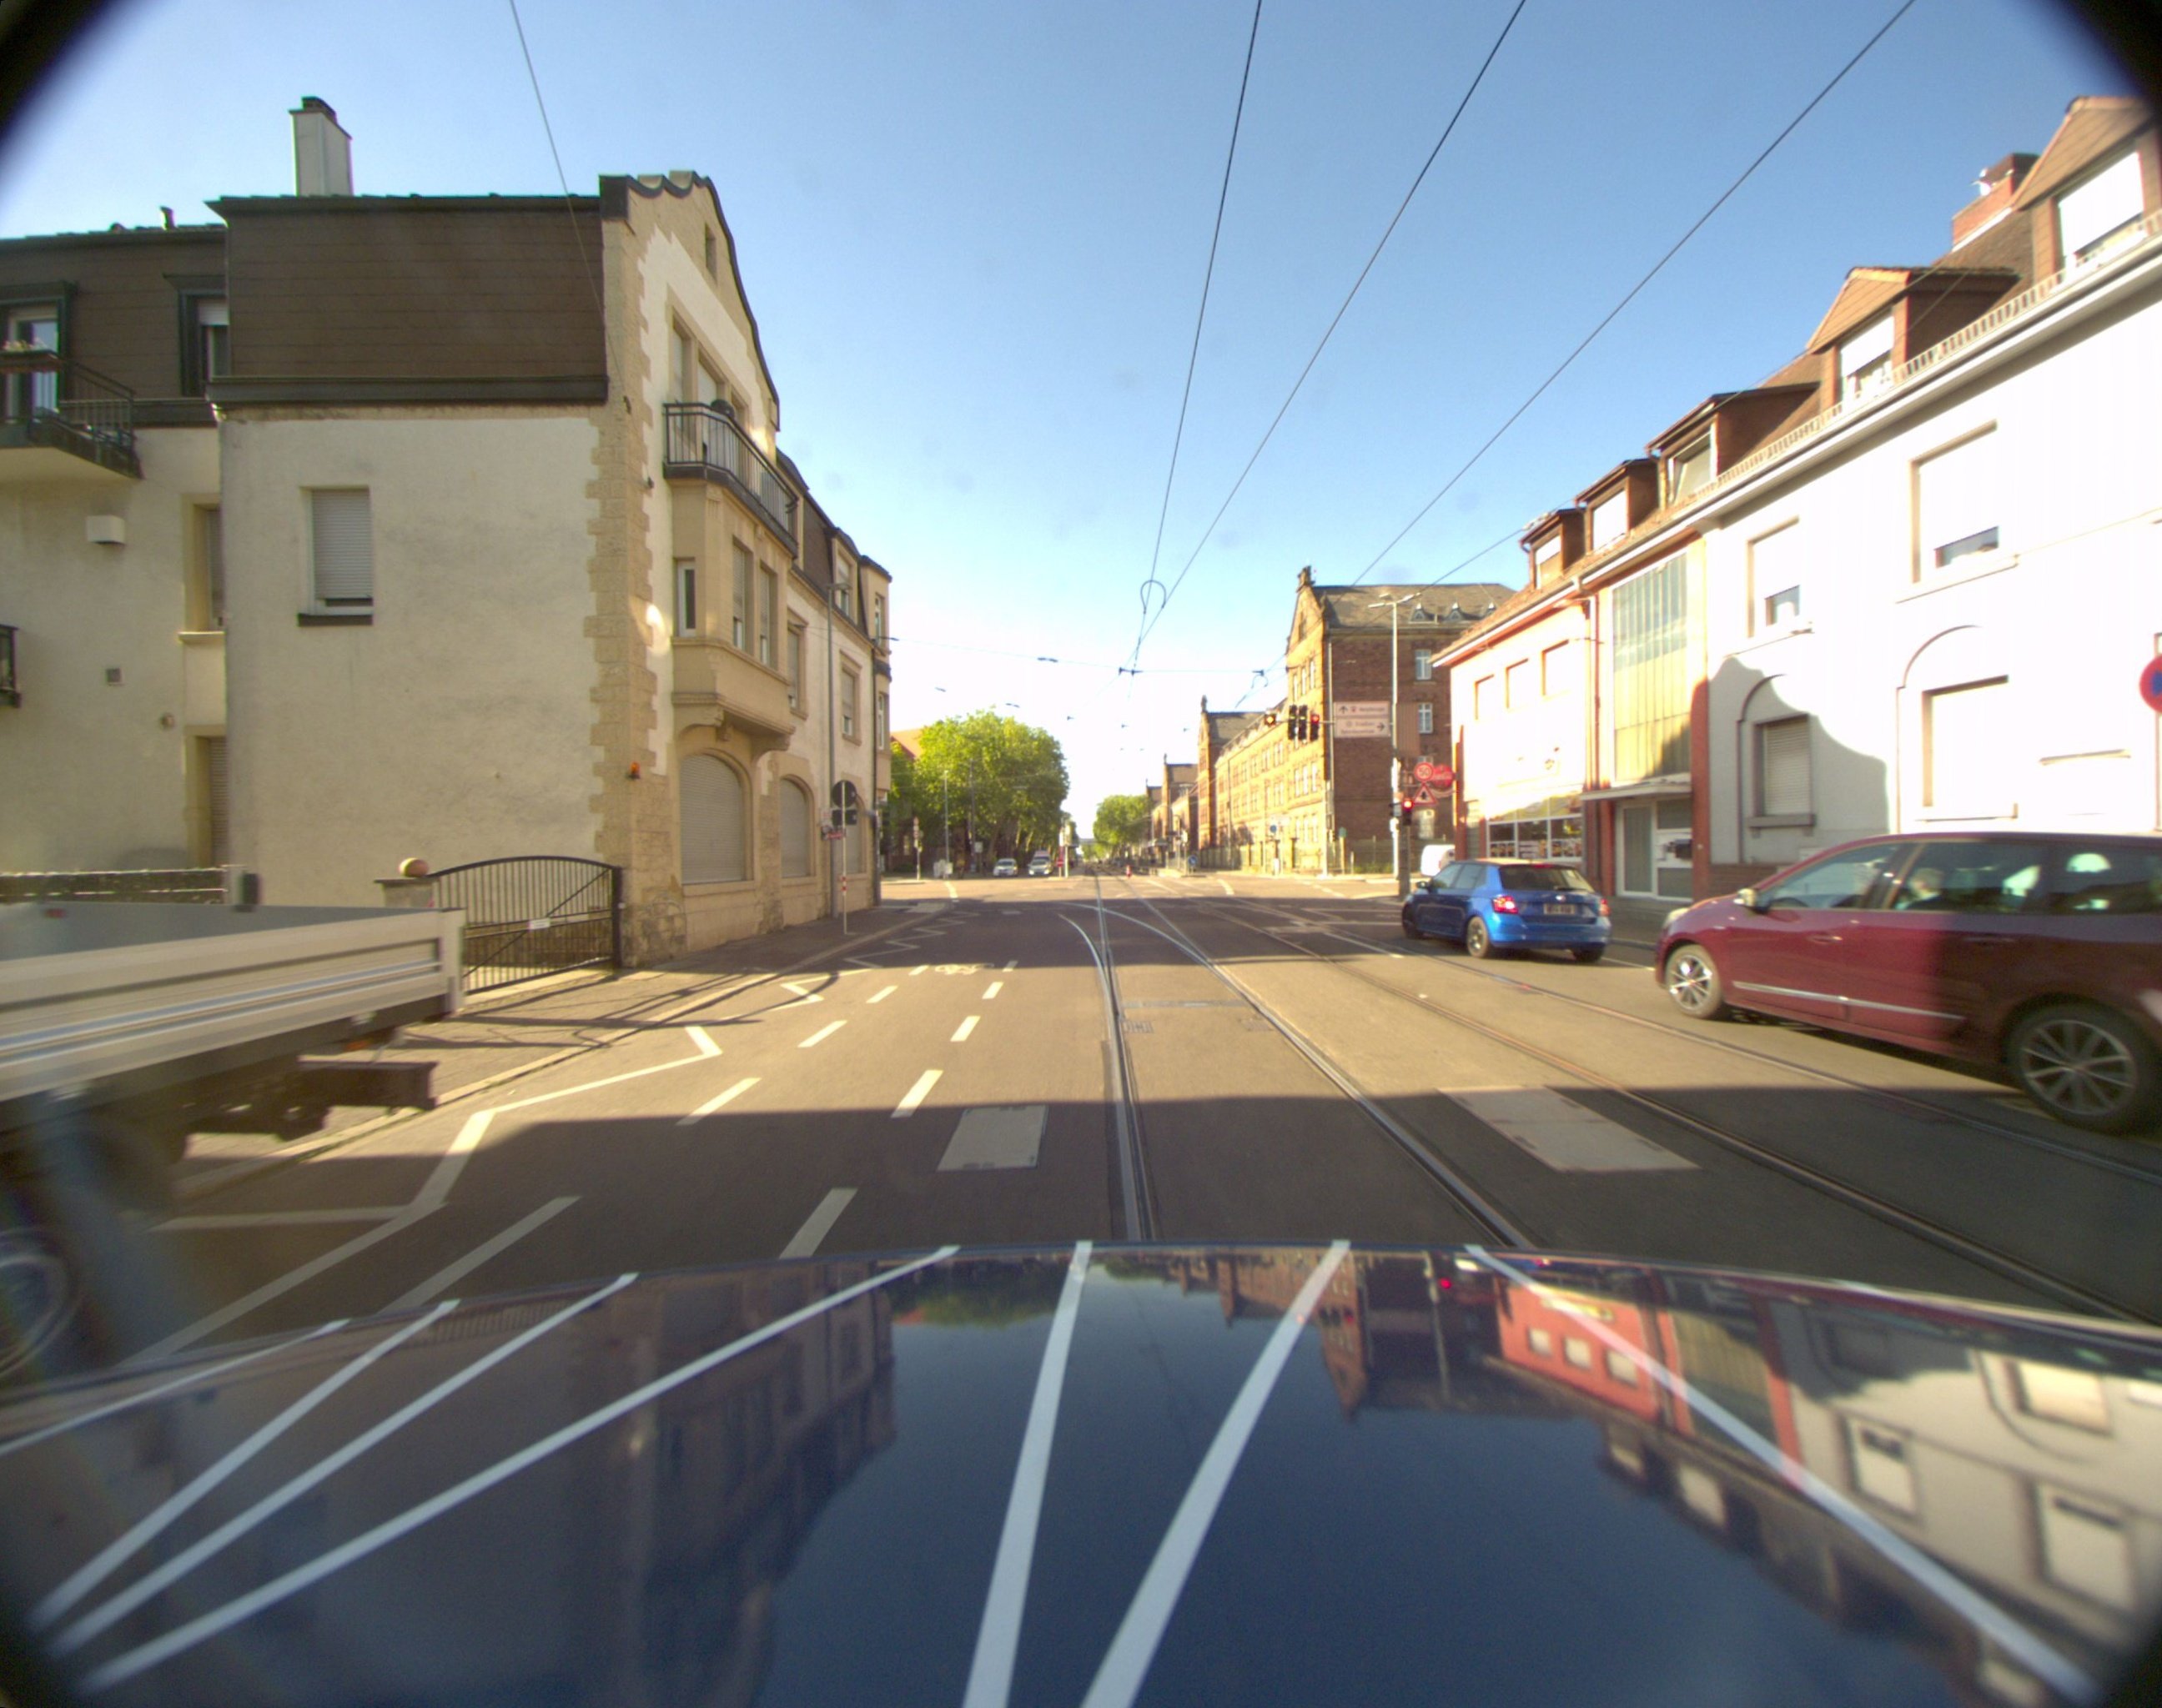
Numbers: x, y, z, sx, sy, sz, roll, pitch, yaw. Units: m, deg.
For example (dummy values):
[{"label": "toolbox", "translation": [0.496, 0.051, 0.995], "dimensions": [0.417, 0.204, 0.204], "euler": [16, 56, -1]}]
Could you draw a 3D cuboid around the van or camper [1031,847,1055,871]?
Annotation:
[{"label": "van or camper", "translation": [-3.773, 0.564, 76.713], "dimensions": [1.998, 2.346, 5.600], "euler": [-1, -1, 1]}]

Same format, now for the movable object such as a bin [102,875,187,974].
[{"label": "movable object such as a bin", "translation": [-13.494, 1.001, 10.962], "dimensions": [0.522, 1.373, 0.533], "euler": [-1, 1, 1]}]

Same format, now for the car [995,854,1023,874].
[{"label": "car", "translation": [-6.228, 0.885, 66.176], "dimensions": [1.911, 1.608, 4.572], "euler": [-2, -1, 1]}]

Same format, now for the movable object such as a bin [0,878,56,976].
[{"label": "movable object such as a bin", "translation": [-15.452, 1.044, 10.969], "dimensions": [0.573, 1.359, 0.526], "euler": [-1, 1, 1]}]

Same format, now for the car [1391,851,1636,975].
[{"label": "car", "translation": [6.372, 0.750, 11.765], "dimensions": [1.687, 1.558, 3.929], "euler": [1, 0, 3]}]

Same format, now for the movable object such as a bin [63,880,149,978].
[{"label": "movable object such as a bin", "translation": [-14.069, 1.065, 10.975], "dimensions": [0.533, 1.359, 0.526], "euler": [-1, 1, 1]}]

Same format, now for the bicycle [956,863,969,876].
[{"label": "bicycle", "translation": [-9.433, 1.256, 60.463], "dimensions": [0.690, 1.027, 2.100], "euler": [-1, -2, 1]}]

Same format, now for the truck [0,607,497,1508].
[{"label": "truck", "translation": [-4.146, 0.571, 0.712], "dimensions": [2.301, 2.463, 6.146], "euler": [-1, 0, 1]}]

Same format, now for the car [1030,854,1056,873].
[{"label": "car", "translation": [-3.371, 0.833, 67.479], "dimensions": [1.984, 1.539, 4.035], "euler": [-1, -1, 2]}]

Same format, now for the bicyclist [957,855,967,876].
[{"label": "bicyclist", "translation": [-9.442, 0.918, 60.353], "dimensions": [0.670, 1.718, 0.623], "euler": [-1, -2, 0]}]

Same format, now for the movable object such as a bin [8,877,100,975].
[{"label": "movable object such as a bin", "translation": [-14.820, 1.030, 10.978], "dimensions": [0.573, 1.359, 0.526], "euler": [-1, 1, 1]}]

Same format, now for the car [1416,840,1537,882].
[{"label": "car", "translation": [18.461, 0.301, 35.607], "dimensions": [4.694, 1.789, 1.857], "euler": [-1, 3, -1]}]

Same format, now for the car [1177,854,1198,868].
[{"label": "car", "translation": [11.090, 0.699, 79.573], "dimensions": [1.740, 1.434, 4.116], "euler": [-1, 0, 2]}]

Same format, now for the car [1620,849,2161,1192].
[{"label": "car", "translation": [6.073, 0.771, 5.199], "dimensions": [1.742, 1.602, 4.716], "euler": [0, 0, 5]}]
